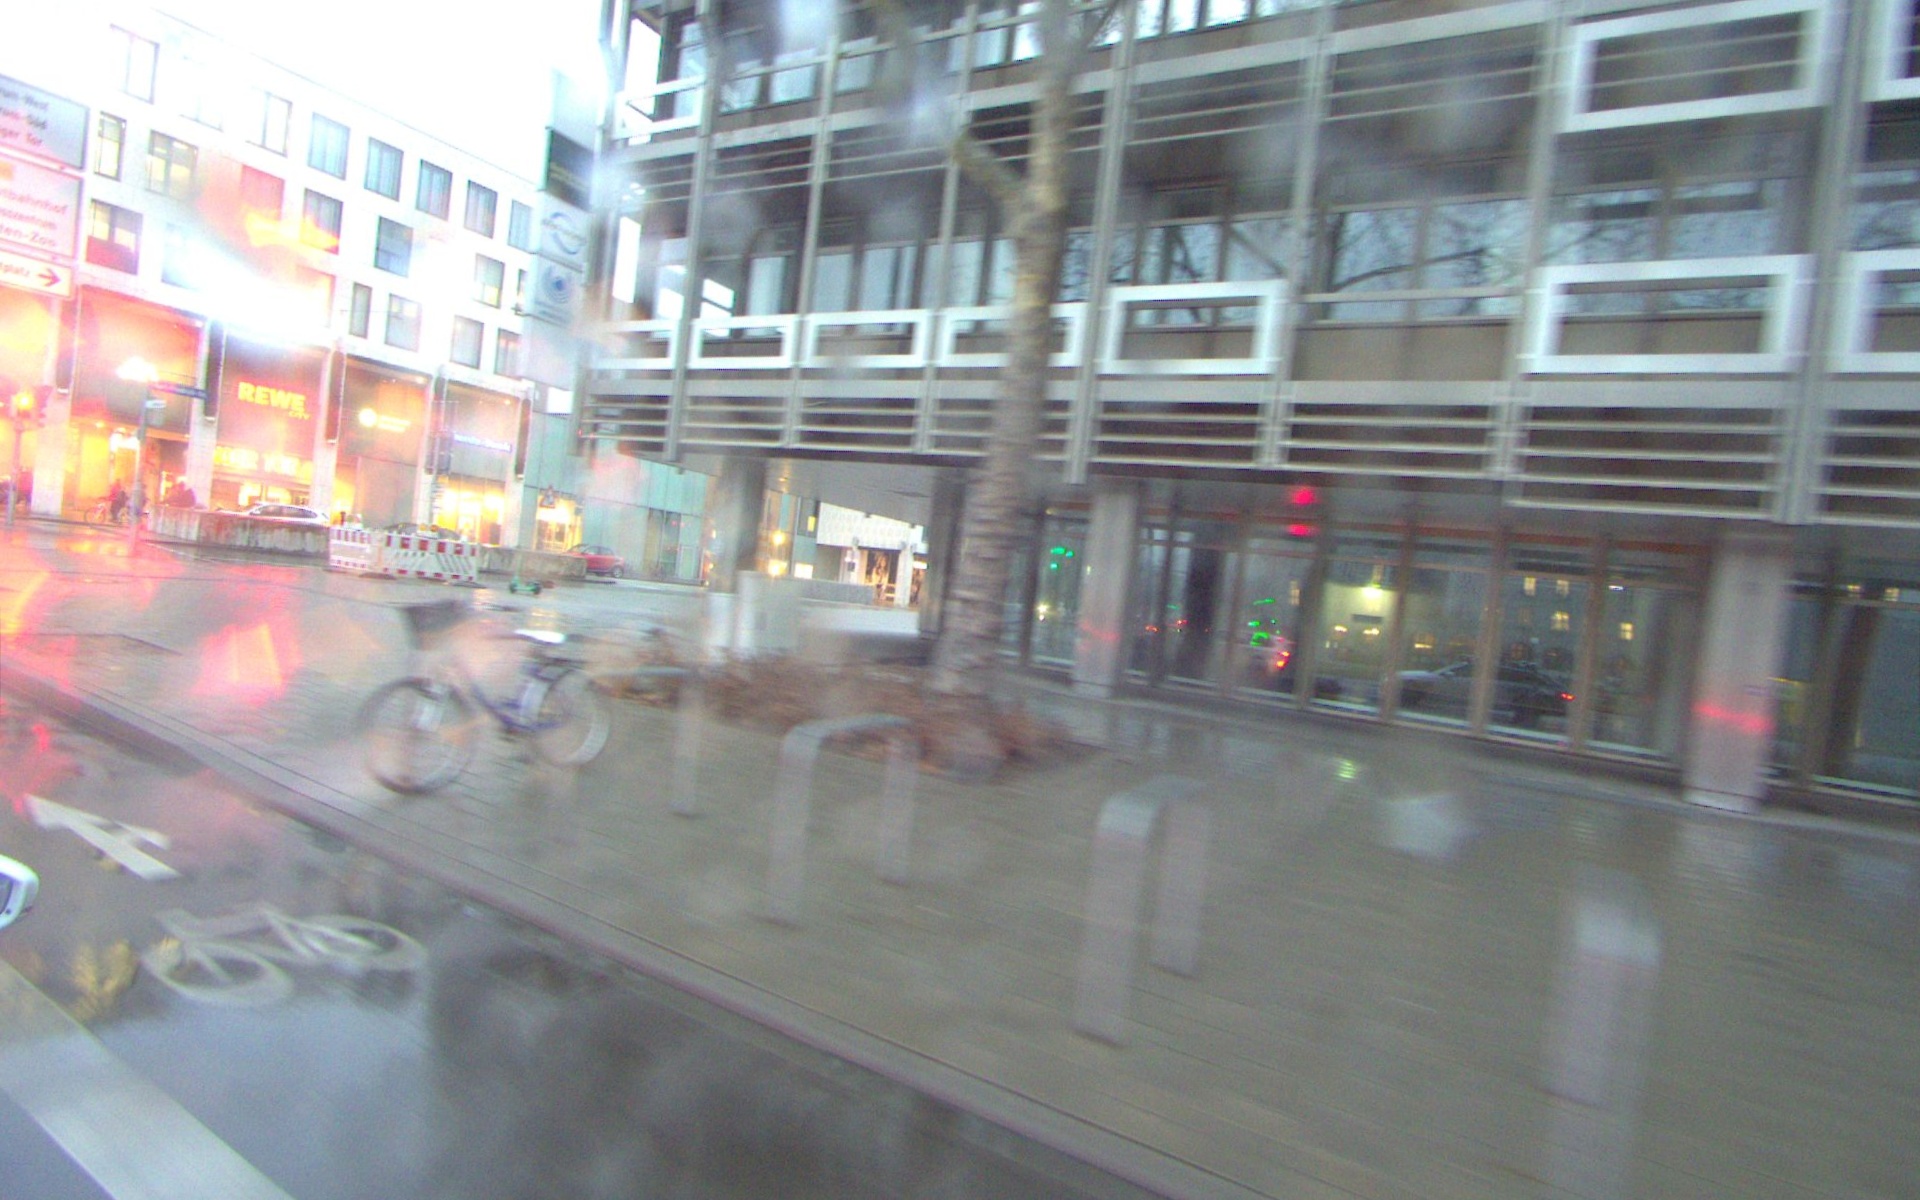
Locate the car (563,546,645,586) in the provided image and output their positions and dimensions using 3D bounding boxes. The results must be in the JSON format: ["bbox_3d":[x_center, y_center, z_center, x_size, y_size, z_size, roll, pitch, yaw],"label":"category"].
[{"bbox_3d":[-17.993,-1.694,50.942,1.648,1.602,3.573,7,0,30],"label":"car"}]

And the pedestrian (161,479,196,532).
[{"bbox_3d":[-25.896,-3.132,33.332,0.778,1.616,0.605,6,2,-42],"label":"pedestrian"}]

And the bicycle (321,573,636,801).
[{"bbox_3d":[-2.836,0.479,6.134,0.428,1.164,1.752,7,2,28],"label":"bicycle"}]

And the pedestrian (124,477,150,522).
[{"bbox_3d":[-33.238,-4.055,40.646,0.529,1.707,0.546,6,1,-20],"label":"pedestrian"}]

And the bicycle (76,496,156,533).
[{"bbox_3d":[-31.131,-3.132,37.127,0.532,1.003,2.133,7,-1,30],"label":"bicycle"}]

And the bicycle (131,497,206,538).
[{"bbox_3d":[-26.119,-2.713,33.199,1.839,1.107,0.610,6,1,-43],"label":"bicycle"}]

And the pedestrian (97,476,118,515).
[{"bbox_3d":[-41.070,-5.027,48.462,0.529,1.739,0.500,6,1,-20],"label":"pedestrian"}]

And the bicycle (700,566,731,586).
[{"bbox_3d":[-16.036,-1.593,65.998,2.102,1.046,0.616,7,1,34],"label":"bicycle"}]

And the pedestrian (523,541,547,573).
[{"bbox_3d":[-23.671,-2.380,56.058,0.698,1.651,0.795,7,0,32],"label":"pedestrian"}]

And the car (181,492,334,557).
[{"bbox_3d":[-26.233,-2.792,37.715,1.680,1.783,4.303,8,1,35],"label":"car"}]

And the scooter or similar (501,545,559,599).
[{"bbox_3d":[-10.376,-0.687,24.269,1.215,1.145,0.605,7,1,33],"label":"scooter or similar"}]

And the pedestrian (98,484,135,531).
[{"bbox_3d":[-31.112,-3.419,37.096,0.527,1.590,0.816,7,1,29],"label":"pedestrian"}]

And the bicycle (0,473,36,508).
[{"bbox_3d":[-41.095,-4.777,42.818,0.623,1.346,2.430,8,0,27],"label":"bicycle"}]
